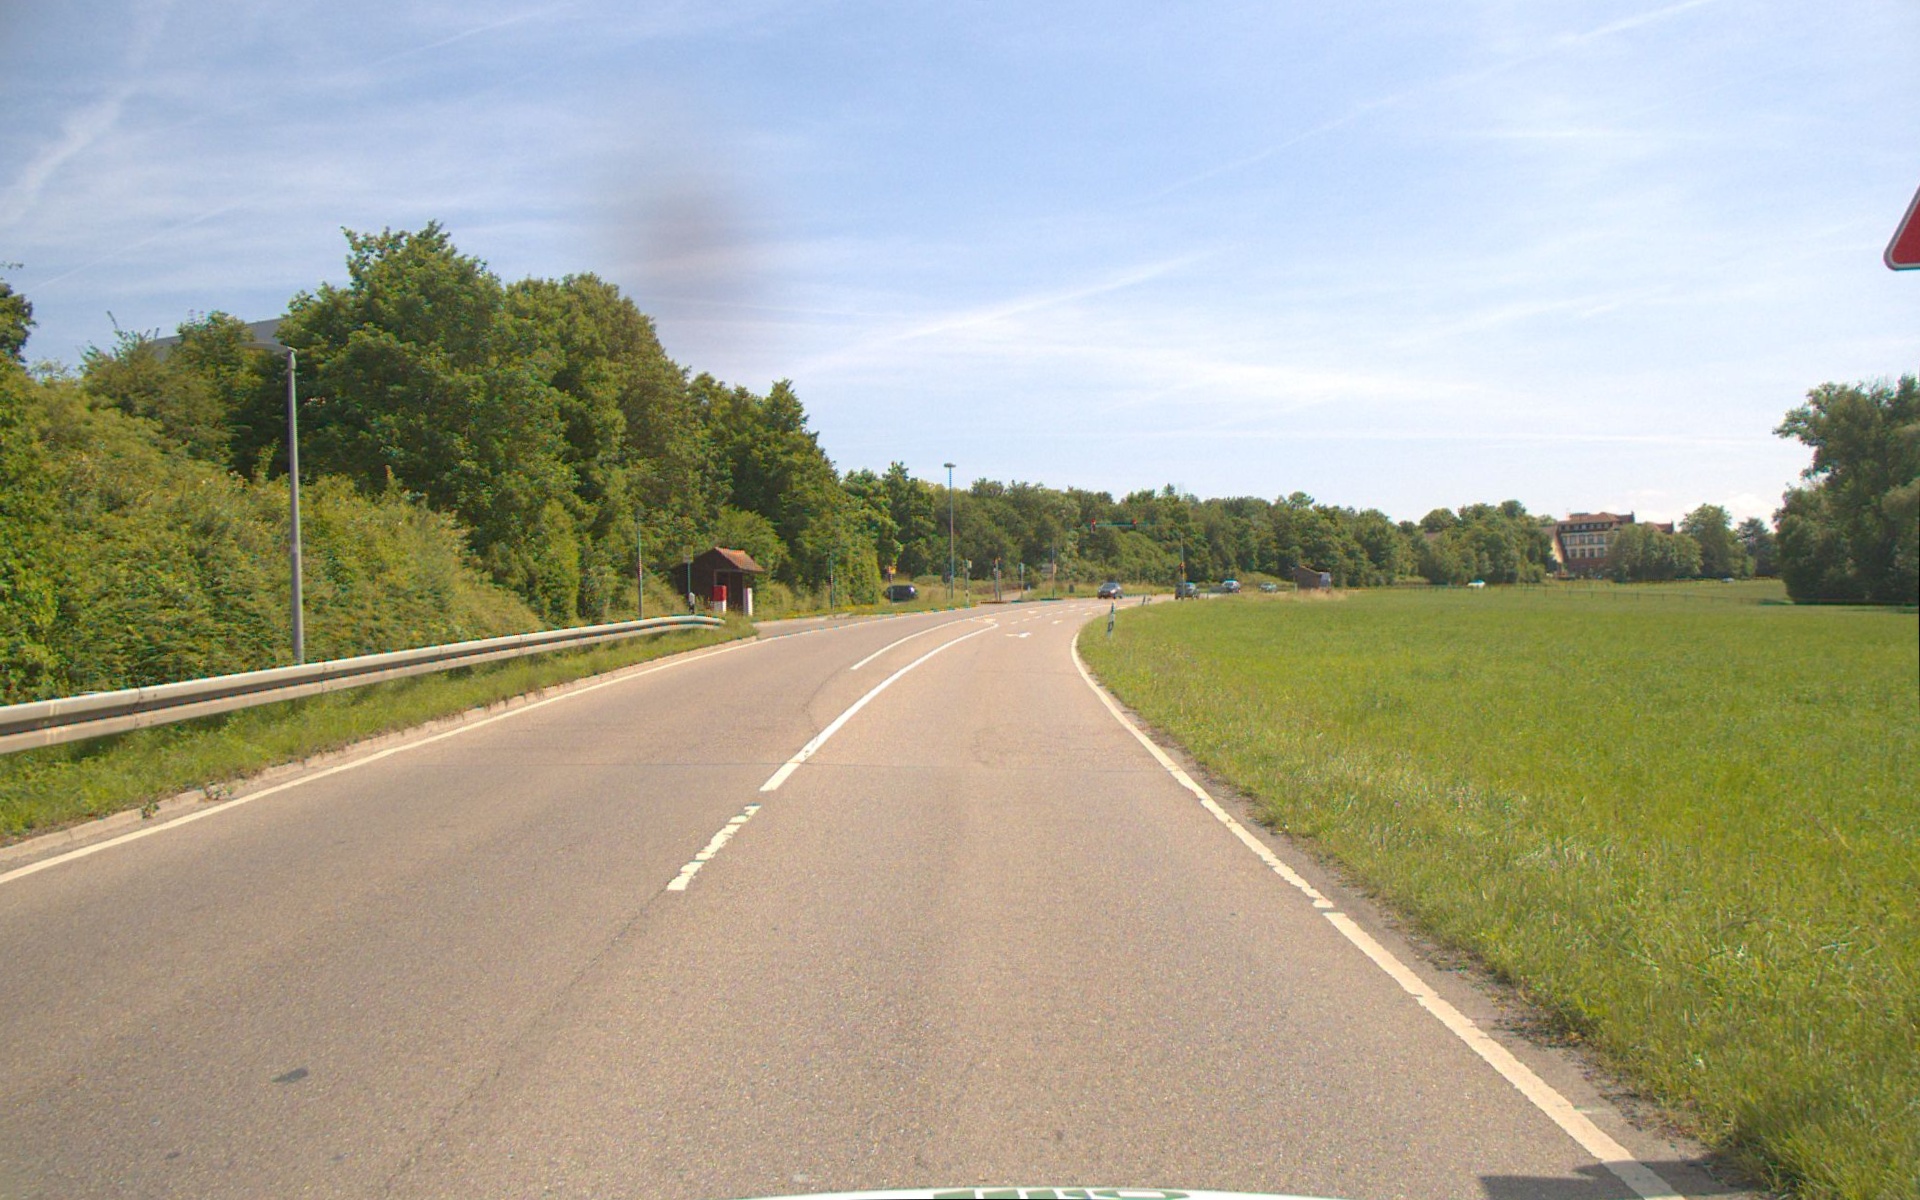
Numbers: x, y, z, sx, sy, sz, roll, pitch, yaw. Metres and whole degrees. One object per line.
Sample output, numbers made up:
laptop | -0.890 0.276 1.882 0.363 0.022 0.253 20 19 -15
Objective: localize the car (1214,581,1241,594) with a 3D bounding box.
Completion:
car | 33.228 -1.578 205.252 1.937 1.589 4.182 1 0 29

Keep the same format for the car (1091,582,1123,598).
car | 14.091 -0.957 158.281 1.755 1.500 4.309 1 0 23

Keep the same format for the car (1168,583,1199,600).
car | 21.357 -0.800 158.001 1.953 1.601 3.998 0 0 24

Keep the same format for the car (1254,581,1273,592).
car | 40.882 -1.815 222.881 1.673 1.509 3.829 1 0 25

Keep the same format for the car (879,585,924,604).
car | -5.619 -0.539 158.459 3.919 1.825 1.993 1 0 35
